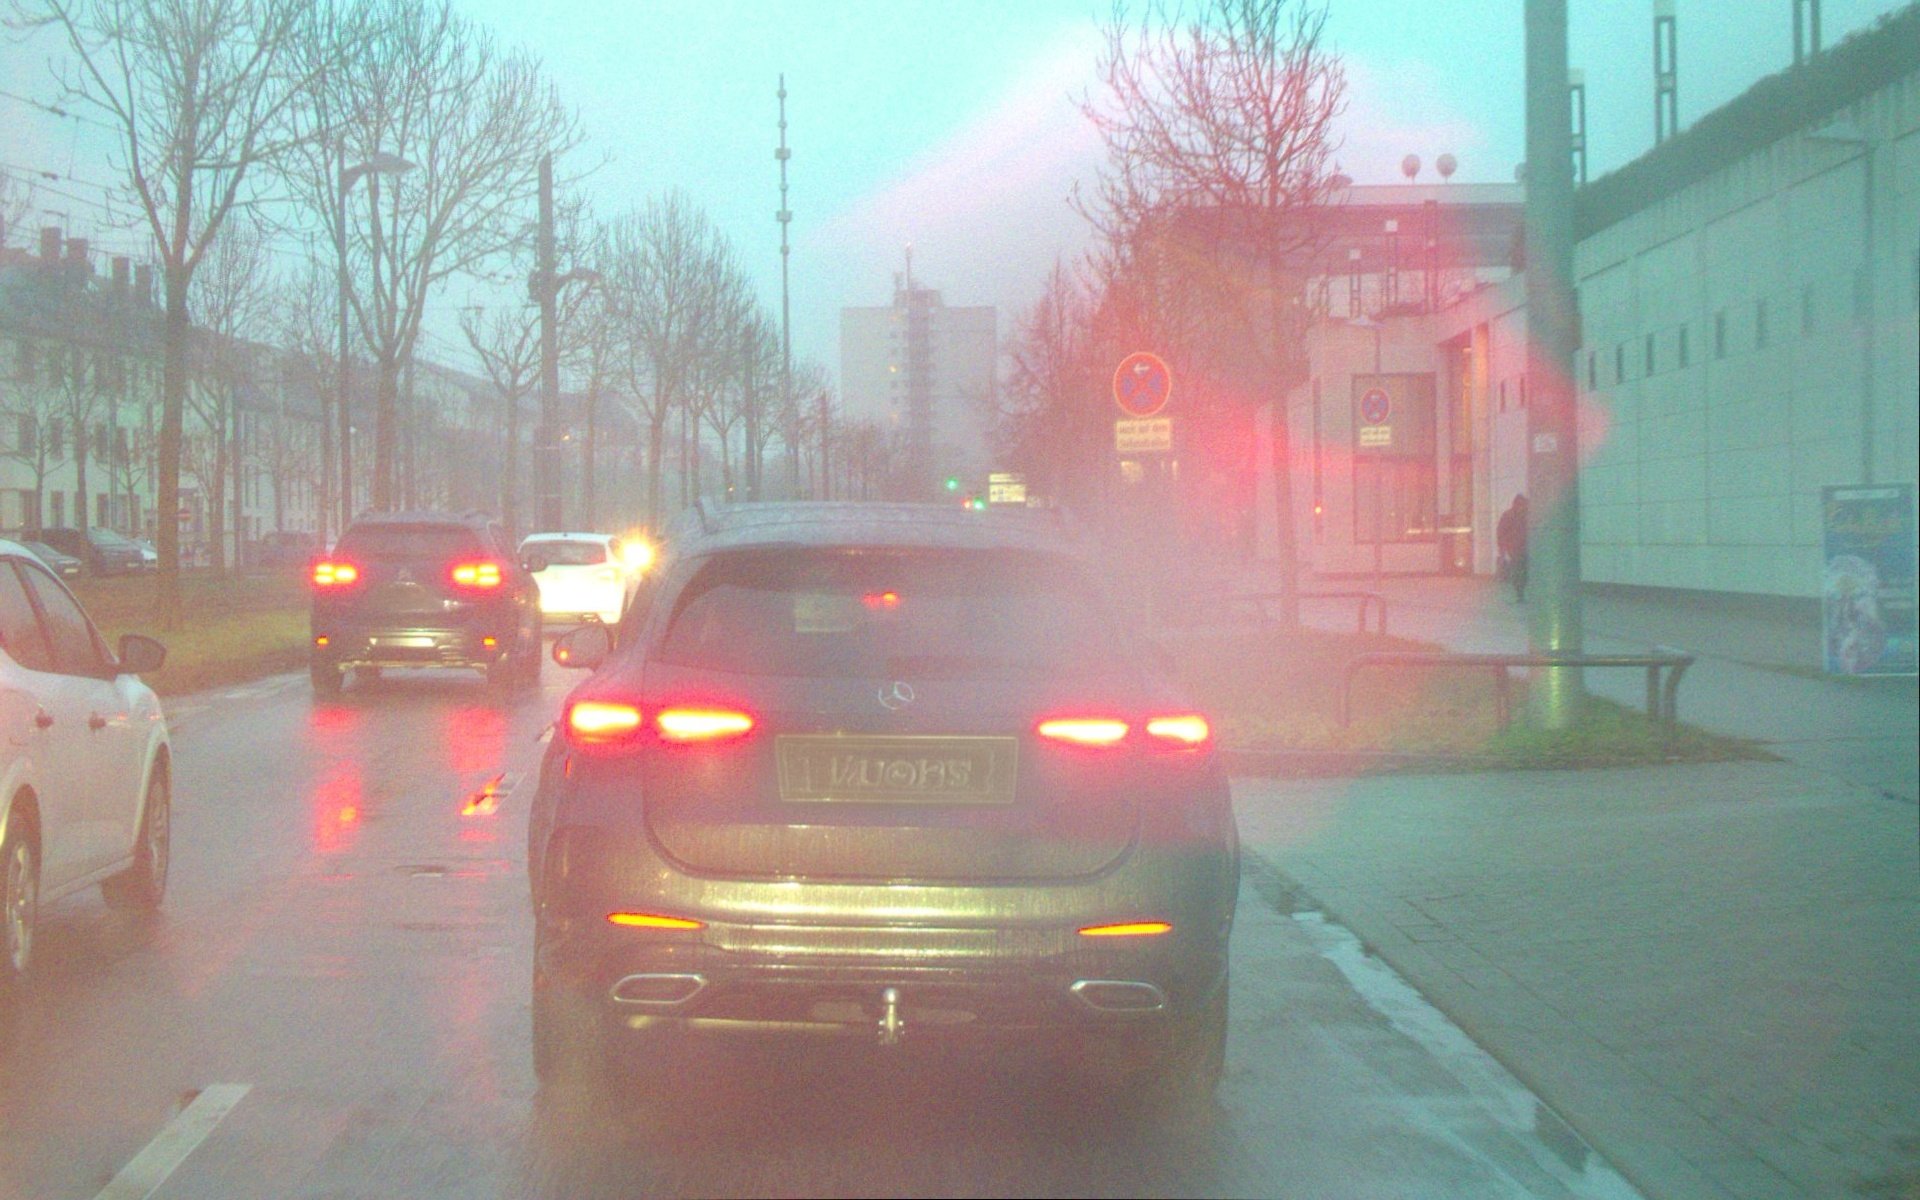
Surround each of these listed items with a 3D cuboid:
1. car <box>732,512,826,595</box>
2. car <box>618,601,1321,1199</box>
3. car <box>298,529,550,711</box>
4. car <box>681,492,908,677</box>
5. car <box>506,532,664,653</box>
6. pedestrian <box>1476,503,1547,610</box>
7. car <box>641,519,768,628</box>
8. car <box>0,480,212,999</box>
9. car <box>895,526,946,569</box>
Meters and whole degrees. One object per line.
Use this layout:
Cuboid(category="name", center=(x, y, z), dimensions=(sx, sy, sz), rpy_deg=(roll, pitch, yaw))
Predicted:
Cuboid(category="car", center=(-4.573, -1.176, 87.511), dimensions=(1.993, 2.007, 4.000), rpy_deg=(2, 0, 2))
Cuboid(category="car", center=(0.058, 0.846, 10.292), dimensions=(1.672, 1.594, 4.053), rpy_deg=(1, 1, 1))
Cuboid(category="car", center=(-5.006, 0.147, 32.570), dimensions=(1.672, 1.594, 4.053), rpy_deg=(1, 1, 1))
Cuboid(category="car", center=(-1.594, -0.180, 34.414), dimensions=(1.993, 1.738, 4.000), rpy_deg=(0, 1, 1))
Cuboid(category="car", center=(-5.179, -0.138, 47.904), dimensions=(1.672, 1.594, 4.053), rpy_deg=(1, 1, 1))
Cuboid(category="pedestrian", center=(8.414, -0.663, 52.435), dimensions=(0.937, 1.612, 0.695), rpy_deg=(-1, 1, -2))
Cuboid(category="car", center=(-4.948, -0.510, 67.040), dimensions=(1.994, 2.007, 4.000), rpy_deg=(2, 0, 2))
Cuboid(category="car", center=(-3.837, 0.393, 12.052), dimensions=(1.672, 1.594, 4.054), rpy_deg=(1, 1, -2))
Cuboid(category="car", center=(-1.604, -2.139, 140.128), dimensions=(1.993, 1.723, 4.000), rpy_deg=(0, 1, 0))
